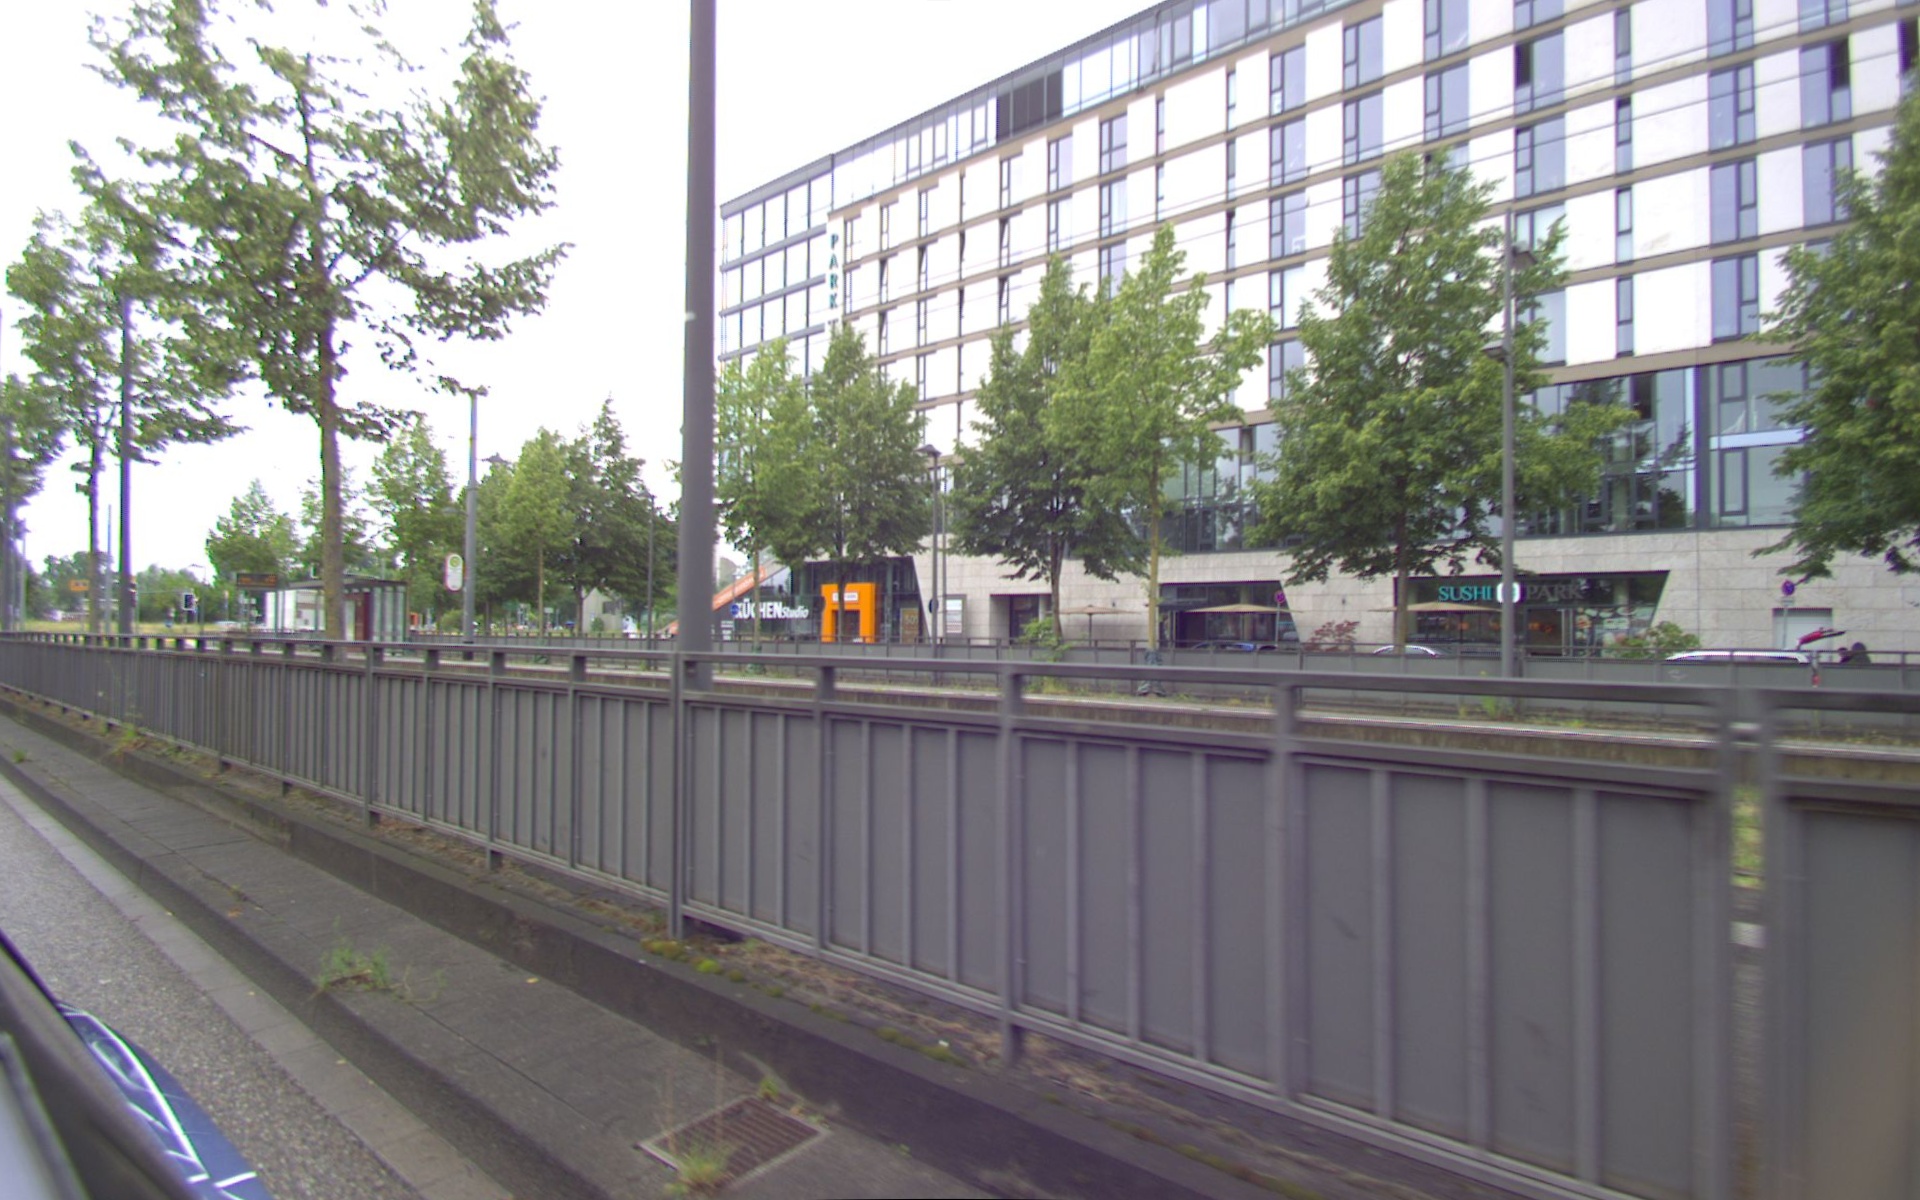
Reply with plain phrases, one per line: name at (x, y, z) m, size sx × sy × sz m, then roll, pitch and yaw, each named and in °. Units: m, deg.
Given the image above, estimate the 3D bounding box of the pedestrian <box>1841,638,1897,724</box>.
pedestrian at (18.452, 1.619, 20.538) m, size 0.793 × 1.704 × 0.703 m, roll -2°, pitch -2°, yaw 44°

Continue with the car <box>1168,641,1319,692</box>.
car at (8.372, 1.918, 29.999) m, size 3.858 × 1.298 × 1.973 m, roll 0°, pitch -2°, yaw 41°

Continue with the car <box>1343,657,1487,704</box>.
car at (14.722, 2.561, 32.868) m, size 3.860 × 1.298 × 1.972 m, roll -1°, pitch -2°, yaw 43°

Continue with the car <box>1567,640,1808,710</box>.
car at (15.783, 1.558, 22.059) m, size 4.070 × 1.298 × 1.972 m, roll -1°, pitch -2°, yaw 43°

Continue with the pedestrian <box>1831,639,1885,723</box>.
pedestrian at (18.833, 1.678, 21.231) m, size 0.793 × 1.704 × 0.703 m, roll -2°, pitch -2°, yaw 44°
